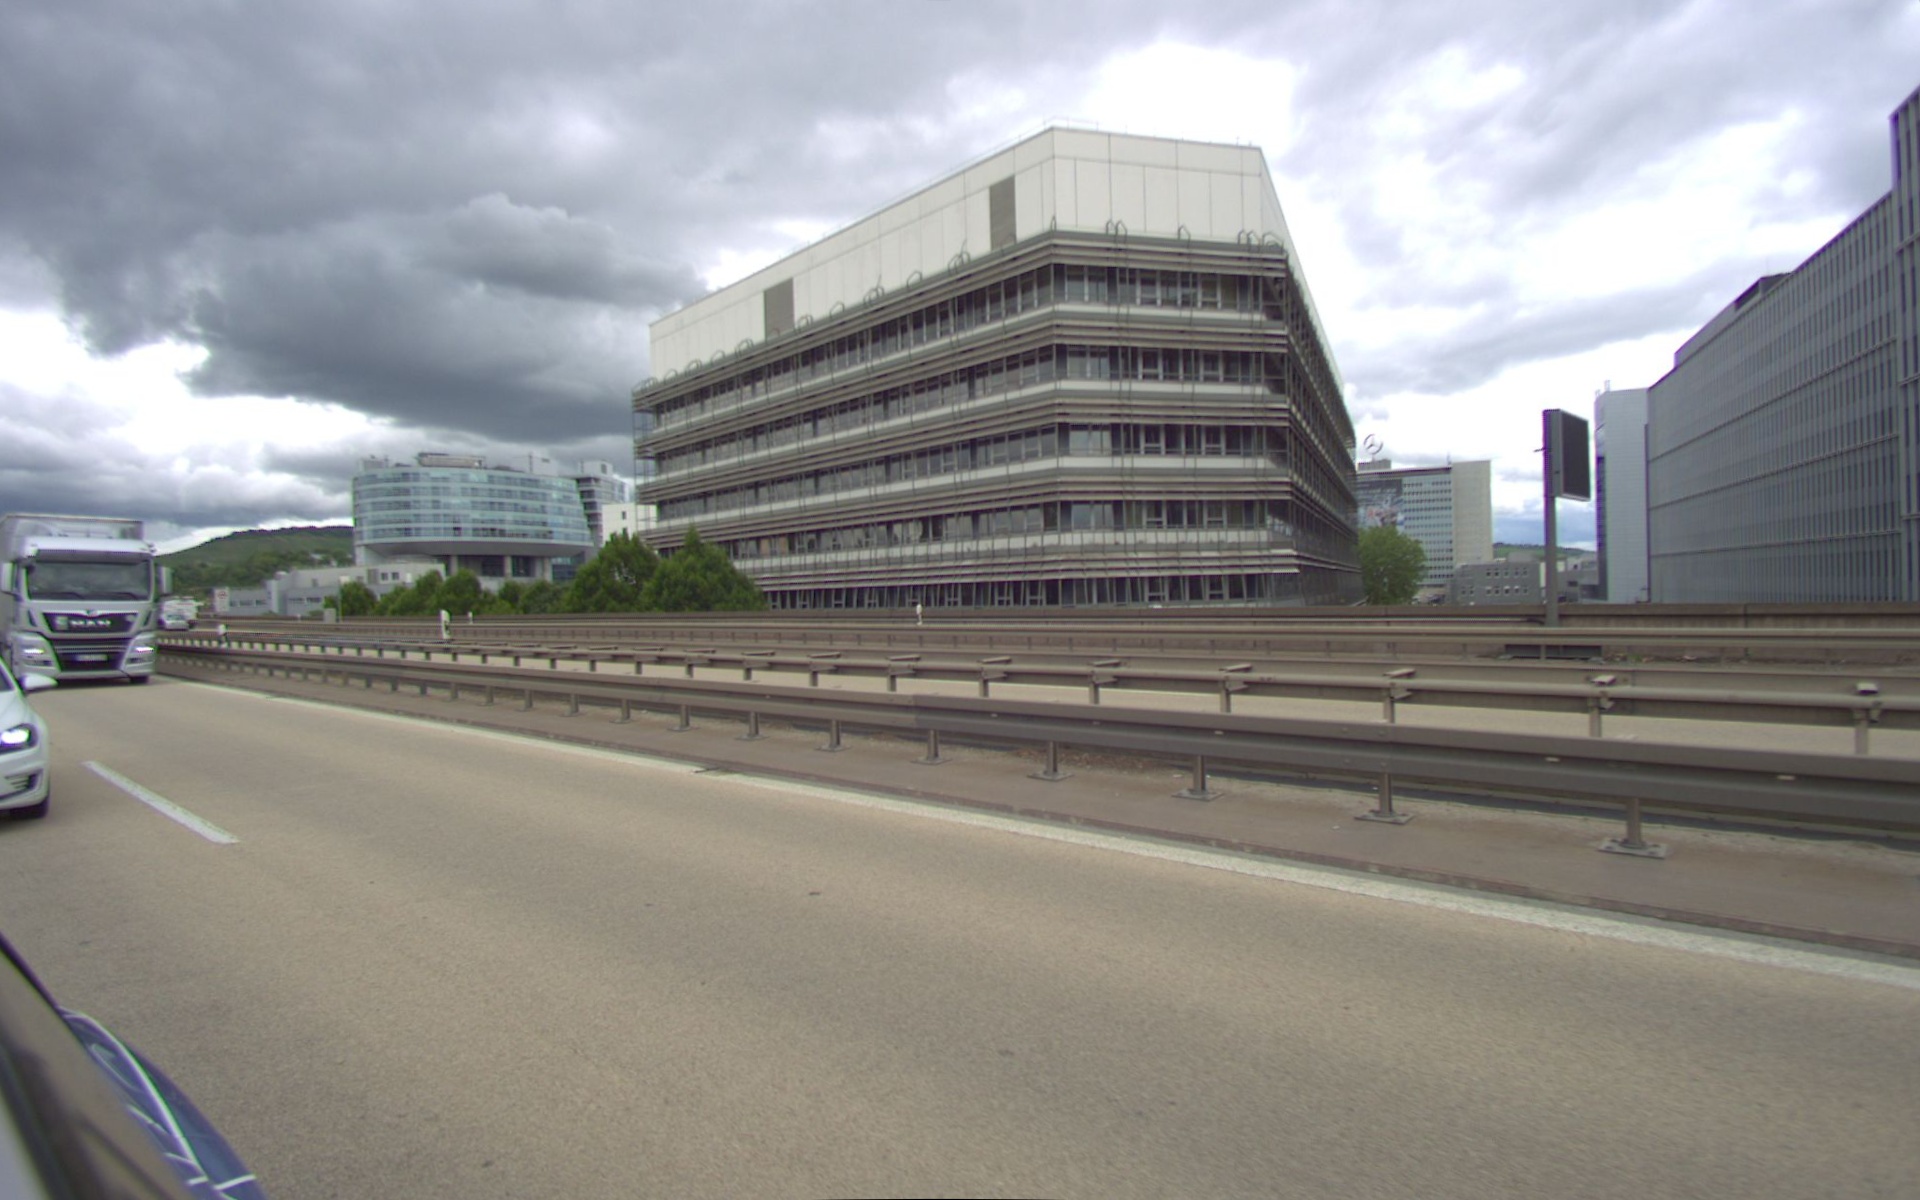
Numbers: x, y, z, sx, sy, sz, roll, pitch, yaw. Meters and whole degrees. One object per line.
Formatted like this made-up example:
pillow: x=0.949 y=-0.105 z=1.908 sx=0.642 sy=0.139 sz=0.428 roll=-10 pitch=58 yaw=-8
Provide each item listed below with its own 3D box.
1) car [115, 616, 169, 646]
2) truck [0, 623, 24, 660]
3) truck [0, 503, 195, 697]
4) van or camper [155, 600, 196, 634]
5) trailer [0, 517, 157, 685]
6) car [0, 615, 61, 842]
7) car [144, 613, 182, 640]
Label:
car: x=-50.135 y=1.852 z=61.993 sx=4.332 sy=1.662 sz=1.744 roll=0 pitch=2 yaw=40
truck: x=-42.448 y=1.806 z=44.432 sx=3.515 sy=1.541 sz=1.804 roll=-1 pitch=0 yaw=44
truck: x=-20.982 y=-0.021 z=24.307 sx=5.687 sy=4.067 sz=3.101 roll=-1 pitch=1 yaw=42
van or camper: x=-71.991 y=1.539 z=92.835 sx=2.146 sy=3.031 sz=7.121 roll=0 pitch=-1 yaw=-45
trailer: x=-26.564 y=0.042 z=29.504 sx=11.765 sy=4.056 sz=3.147 roll=-1 pitch=1 yaw=43
car: x=-8.429 y=0.898 z=7.850 sx=4.063 sy=1.519 sz=1.904 roll=0 pitch=0 yaw=44
car: x=-57.918 y=1.919 z=73.522 sx=1.663 sy=1.662 sz=4.452 roll=-2 pitch=3 yaw=-44
